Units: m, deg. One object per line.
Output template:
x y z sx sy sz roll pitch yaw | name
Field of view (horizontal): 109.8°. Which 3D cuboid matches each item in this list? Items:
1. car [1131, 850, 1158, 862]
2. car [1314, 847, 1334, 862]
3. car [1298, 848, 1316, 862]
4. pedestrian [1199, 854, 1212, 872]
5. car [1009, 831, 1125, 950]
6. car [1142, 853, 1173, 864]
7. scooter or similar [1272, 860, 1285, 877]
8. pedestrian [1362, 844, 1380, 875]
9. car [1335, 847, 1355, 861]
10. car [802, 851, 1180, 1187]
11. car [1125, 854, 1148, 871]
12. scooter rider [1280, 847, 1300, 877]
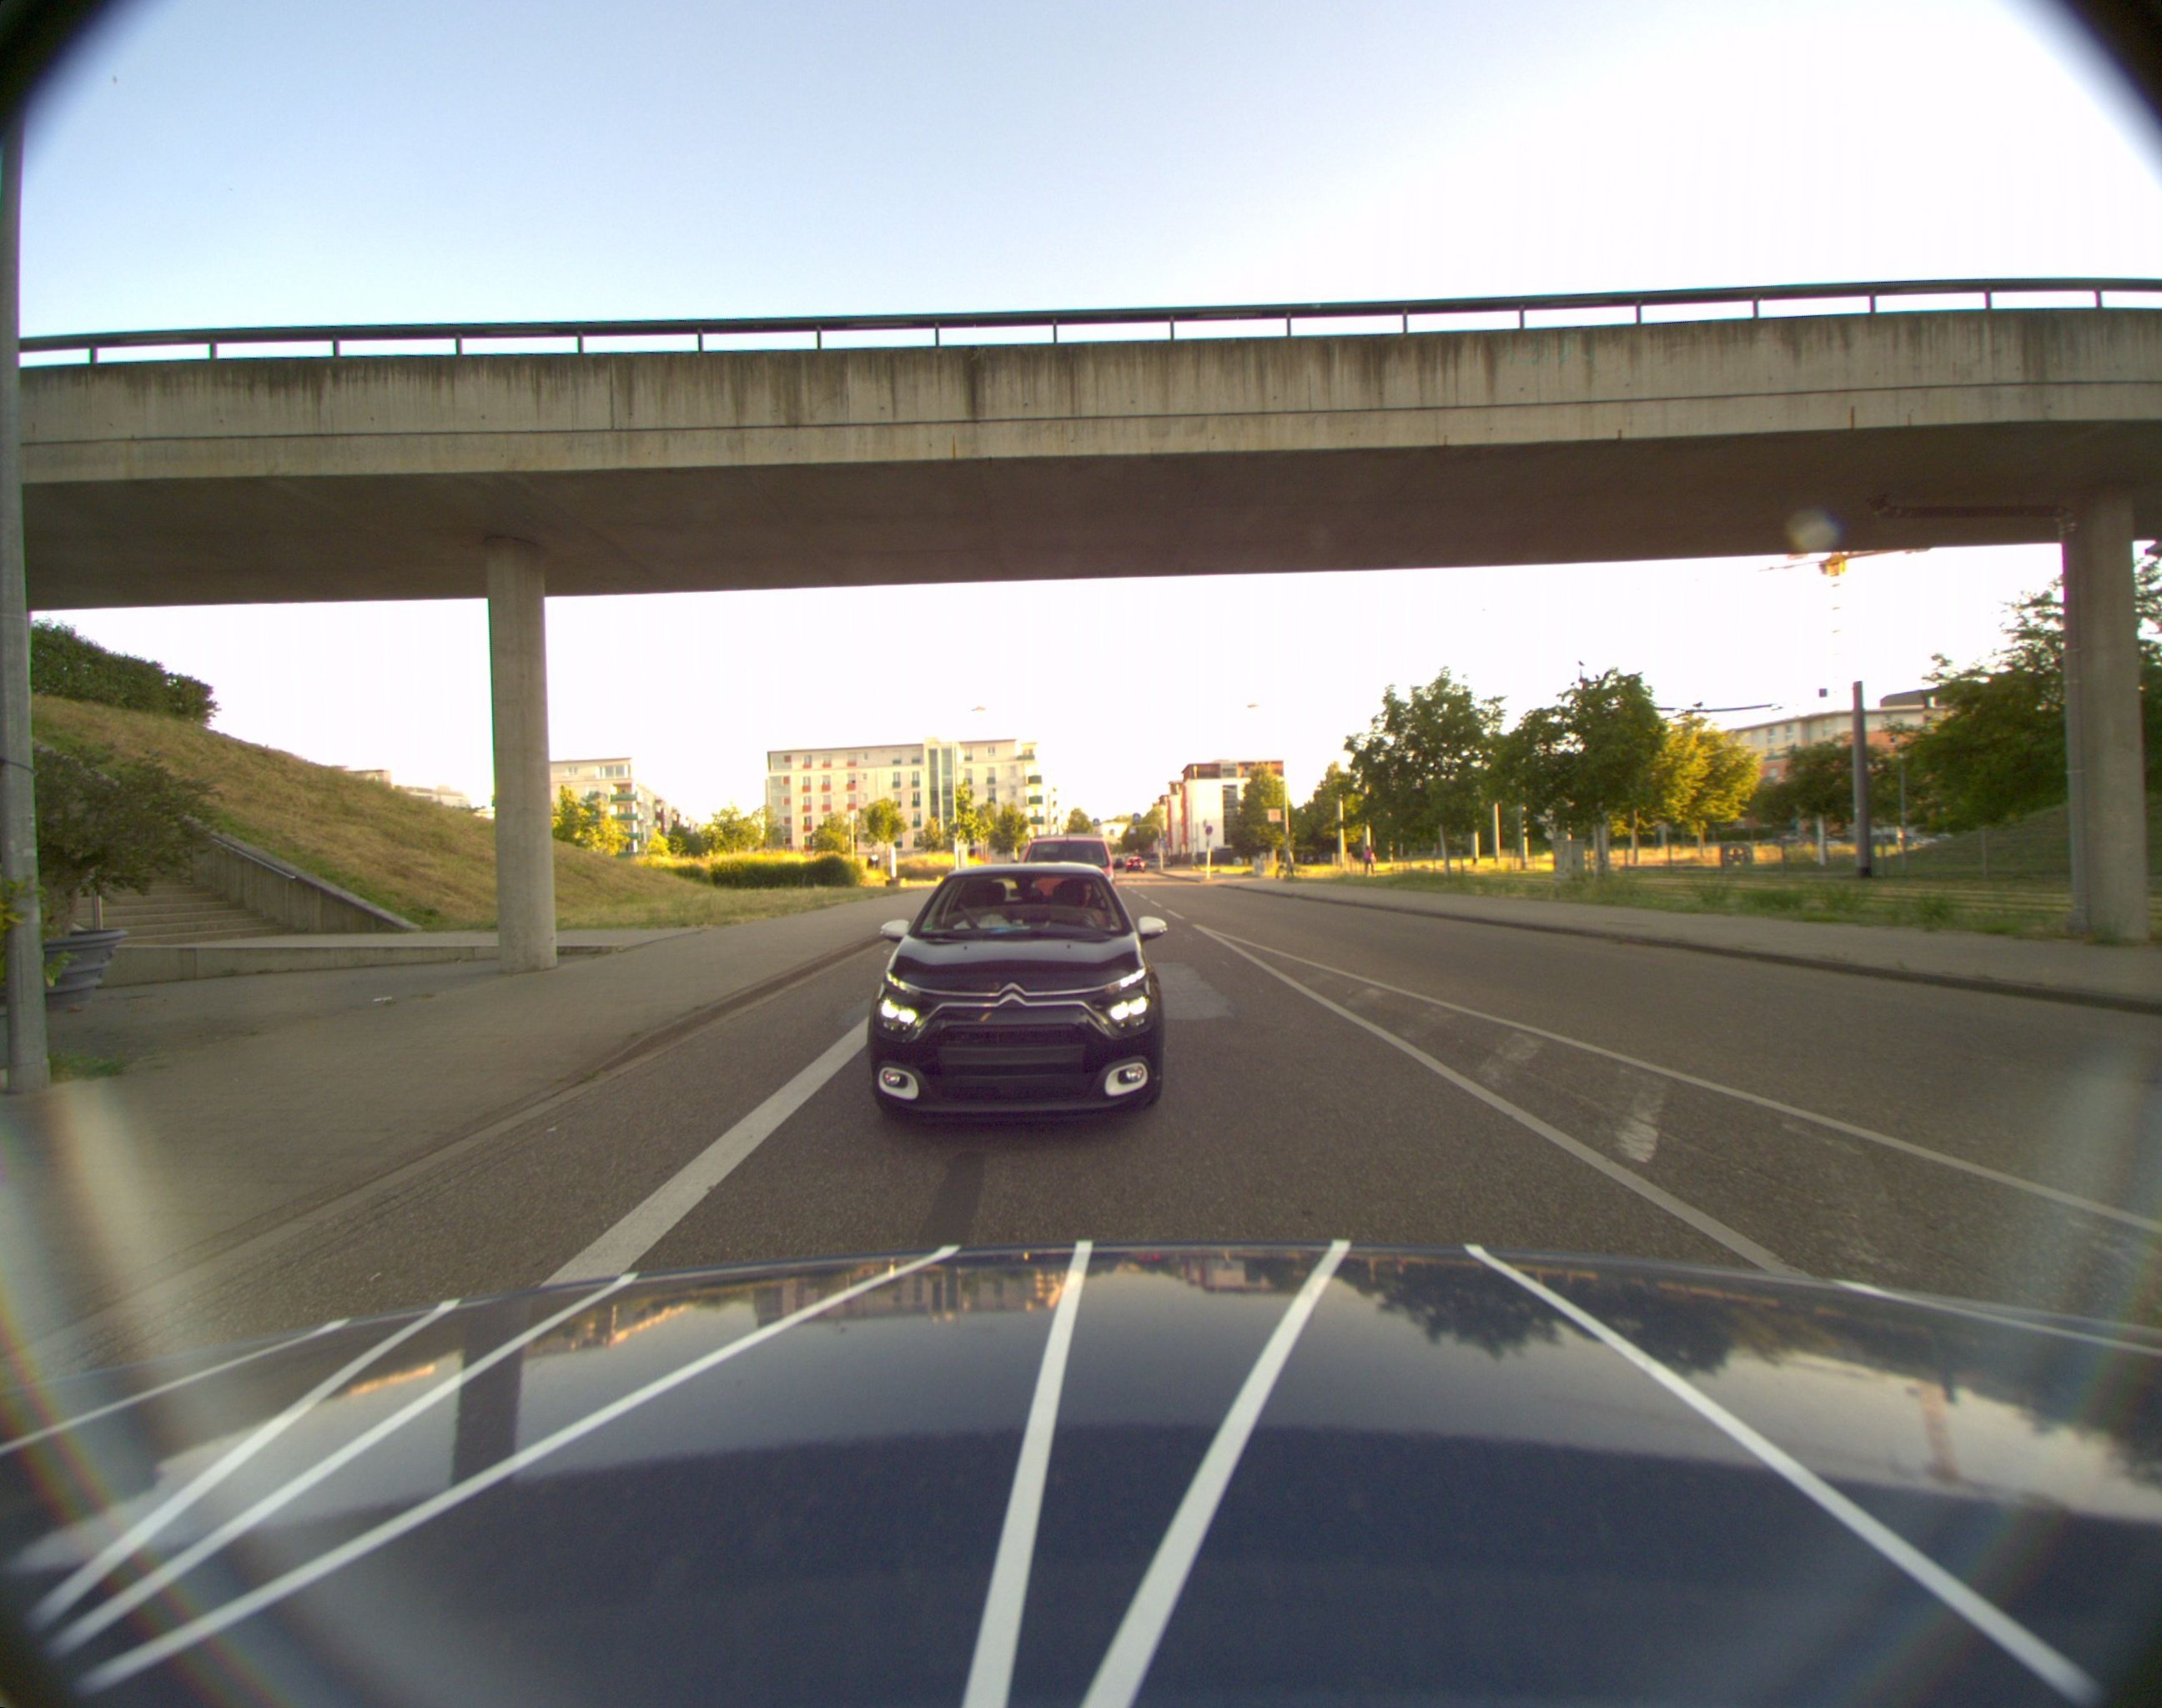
12.007 0.357 144.166 4.745 2.002 1.999 -2 1 -2 | car
30.985 0.049 96.848 1.869 1.710 3.848 -2 0 9 | car
28.837 0.135 97.168 1.869 1.710 3.848 -2 0 12 | car
14.370 1.038 88.023 1.088 2.002 1.141 -2 1 29 | pedestrian
-0.256 0.639 15.661 1.931 1.979 4.822 -3 0 0 | car
11.453 0.666 113.989 4.387 1.550 1.839 -2 1 2 | car
10.428 0.769 40.126 0.552 0.890 0.723 -1 1 10 | scooter or similar
15.104 0.280 39.641 0.779 1.602 0.417 -2 0 12 | pedestrian
33.496 -0.045 96.575 1.869 1.710 3.848 -2 0 12 | car
-0.478 0.797 5.691 1.760 1.543 4.071 -2 0 -2 | car
5.501 0.857 76.018 1.998 1.554 4.000 -2 0 1 | car
11.007 0.409 39.998 0.897 1.568 0.712 -2 0 11 | scooter rider
